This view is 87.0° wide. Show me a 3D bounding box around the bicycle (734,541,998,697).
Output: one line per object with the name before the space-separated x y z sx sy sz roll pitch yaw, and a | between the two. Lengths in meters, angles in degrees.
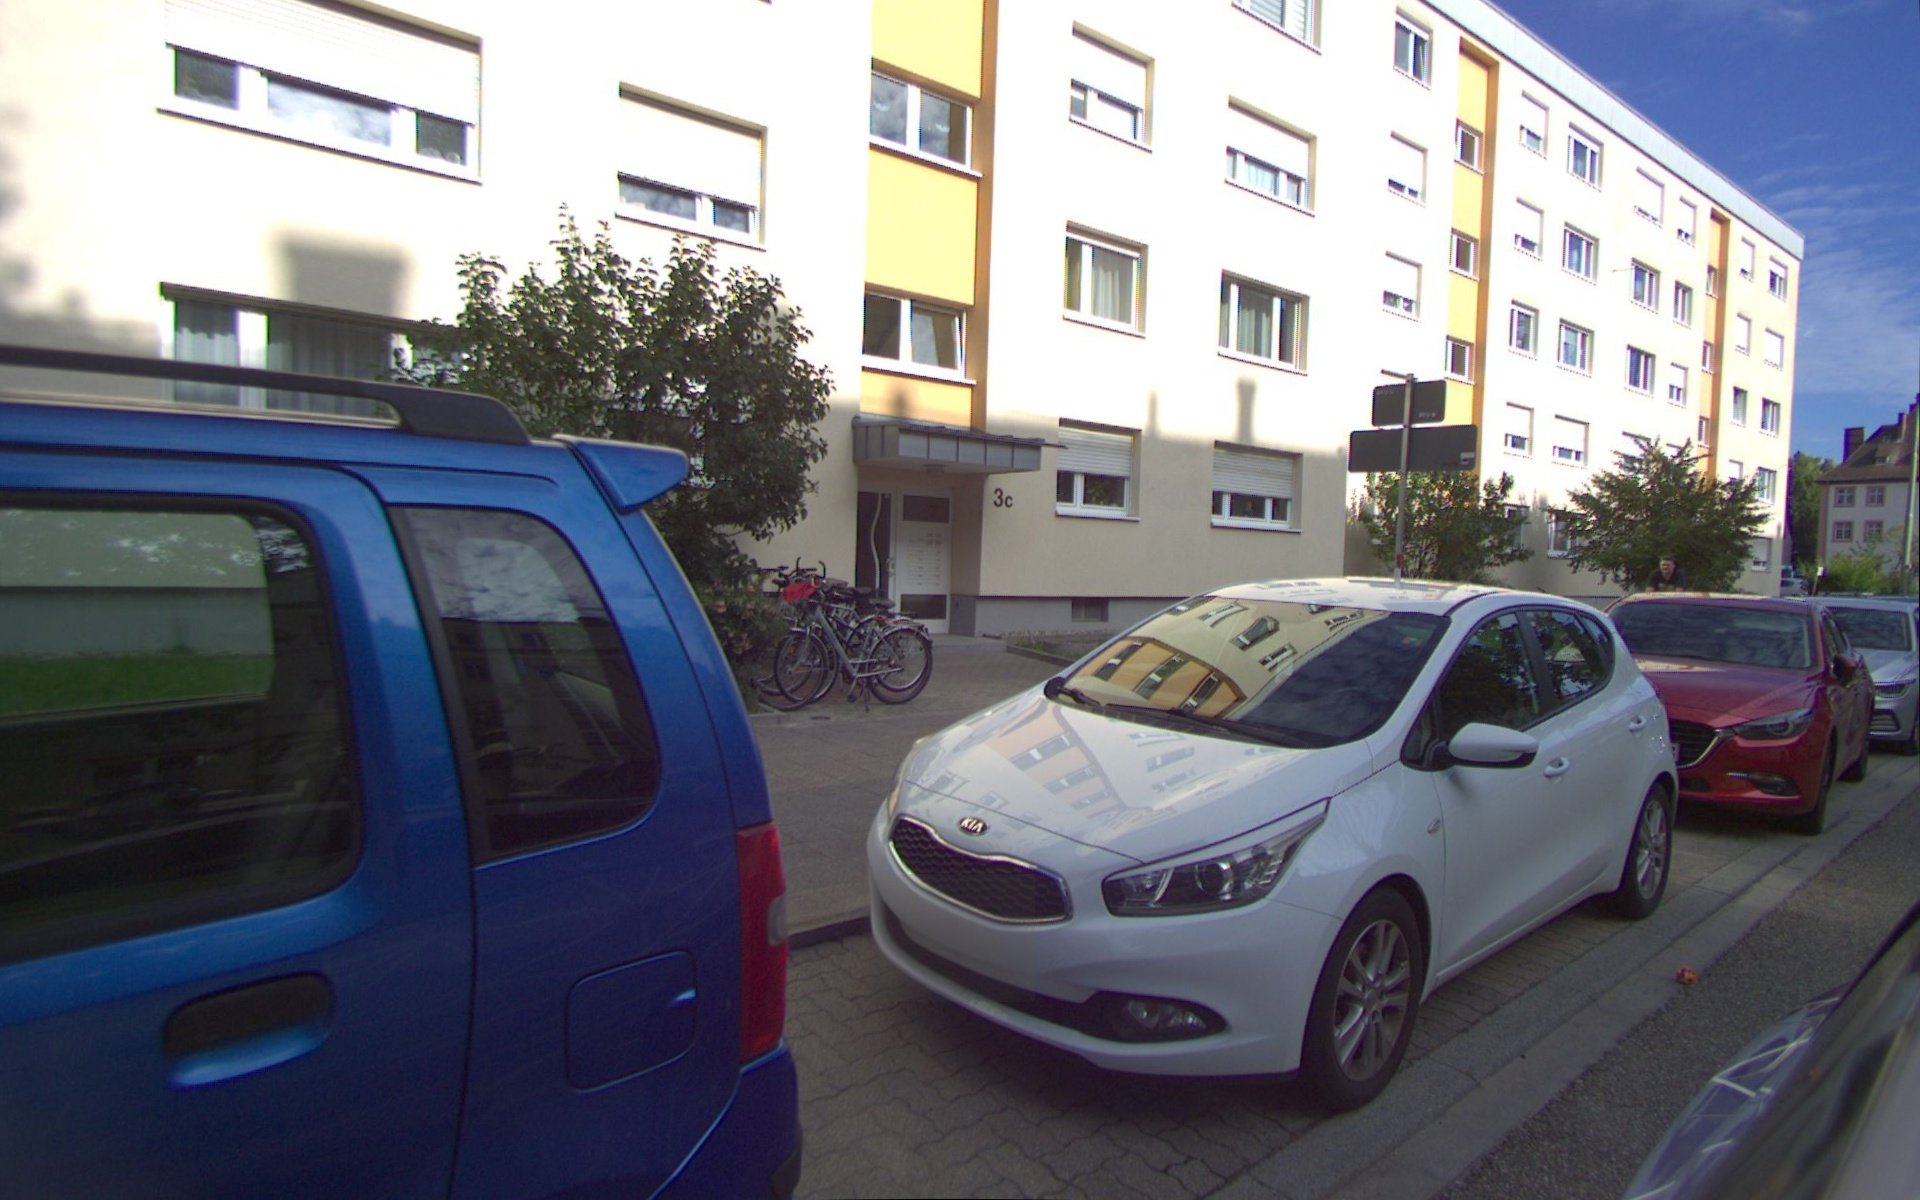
bicycle | -0.825 0.144 9.649 2.588 1.306 0.605 0 4 -40

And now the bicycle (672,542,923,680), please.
bicycle | -1.653 0.081 10.696 2.588 1.307 0.728 0 3 -40

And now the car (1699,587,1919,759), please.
car | 9.596 0.629 10.876 3.986 1.433 1.666 0 4 -39

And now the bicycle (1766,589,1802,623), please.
bicycle | 27.048 0.185 33.217 1.663 1.010 0.597 -2 3 -40

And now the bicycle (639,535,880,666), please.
bicycle | -2.151 -0.013 11.204 2.588 1.307 0.728 0 1 -40

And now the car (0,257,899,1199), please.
car | -2.224 0.478 0.968 4.042 1.669 1.733 0 3 -39

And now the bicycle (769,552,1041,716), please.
bicycle | -0.421 0.252 9.162 2.588 1.307 0.605 0 3 -40

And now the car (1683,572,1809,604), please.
car | 39.531 -0.629 51.023 1.835 1.500 4.683 0 2 -34

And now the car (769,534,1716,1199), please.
car | 1.448 0.555 4.120 4.044 1.479 1.732 0 3 -41

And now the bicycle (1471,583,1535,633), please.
bicycle | 12.305 0.168 22.907 2.033 1.042 0.503 0 5 -41

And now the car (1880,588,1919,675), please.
car | 18.570 0.576 18.721 4.217 1.503 1.688 0 4 -40

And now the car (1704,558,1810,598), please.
car | 46.802 -1.324 59.505 2.320 2.219 4.286 0 2 -32

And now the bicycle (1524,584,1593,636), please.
bicycle | 13.087 0.202 22.102 2.082 1.042 0.595 0 5 -41

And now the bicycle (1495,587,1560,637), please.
bicycle | 12.629 0.244 22.501 2.059 1.042 0.503 0 5 -41

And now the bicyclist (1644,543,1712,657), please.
bicyclist | 11.020 -0.015 15.535 0.877 1.698 0.624 0 2 -41

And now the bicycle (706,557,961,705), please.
bicycle | -1.196 0.262 10.139 2.588 1.306 0.597 0 5 -40

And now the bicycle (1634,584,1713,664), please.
bicycle | 10.924 0.340 15.478 1.896 1.149 0.524 0 2 -41

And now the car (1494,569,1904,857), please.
car | 5.746 0.591 7.656 4.121 1.533 1.731 -1 4 -43

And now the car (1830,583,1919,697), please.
car | 14.612 0.568 15.279 3.873 1.509 1.665 0 3 -41

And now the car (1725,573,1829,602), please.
car | 45.120 -0.708 55.968 1.833 1.500 4.096 0 2 -30
